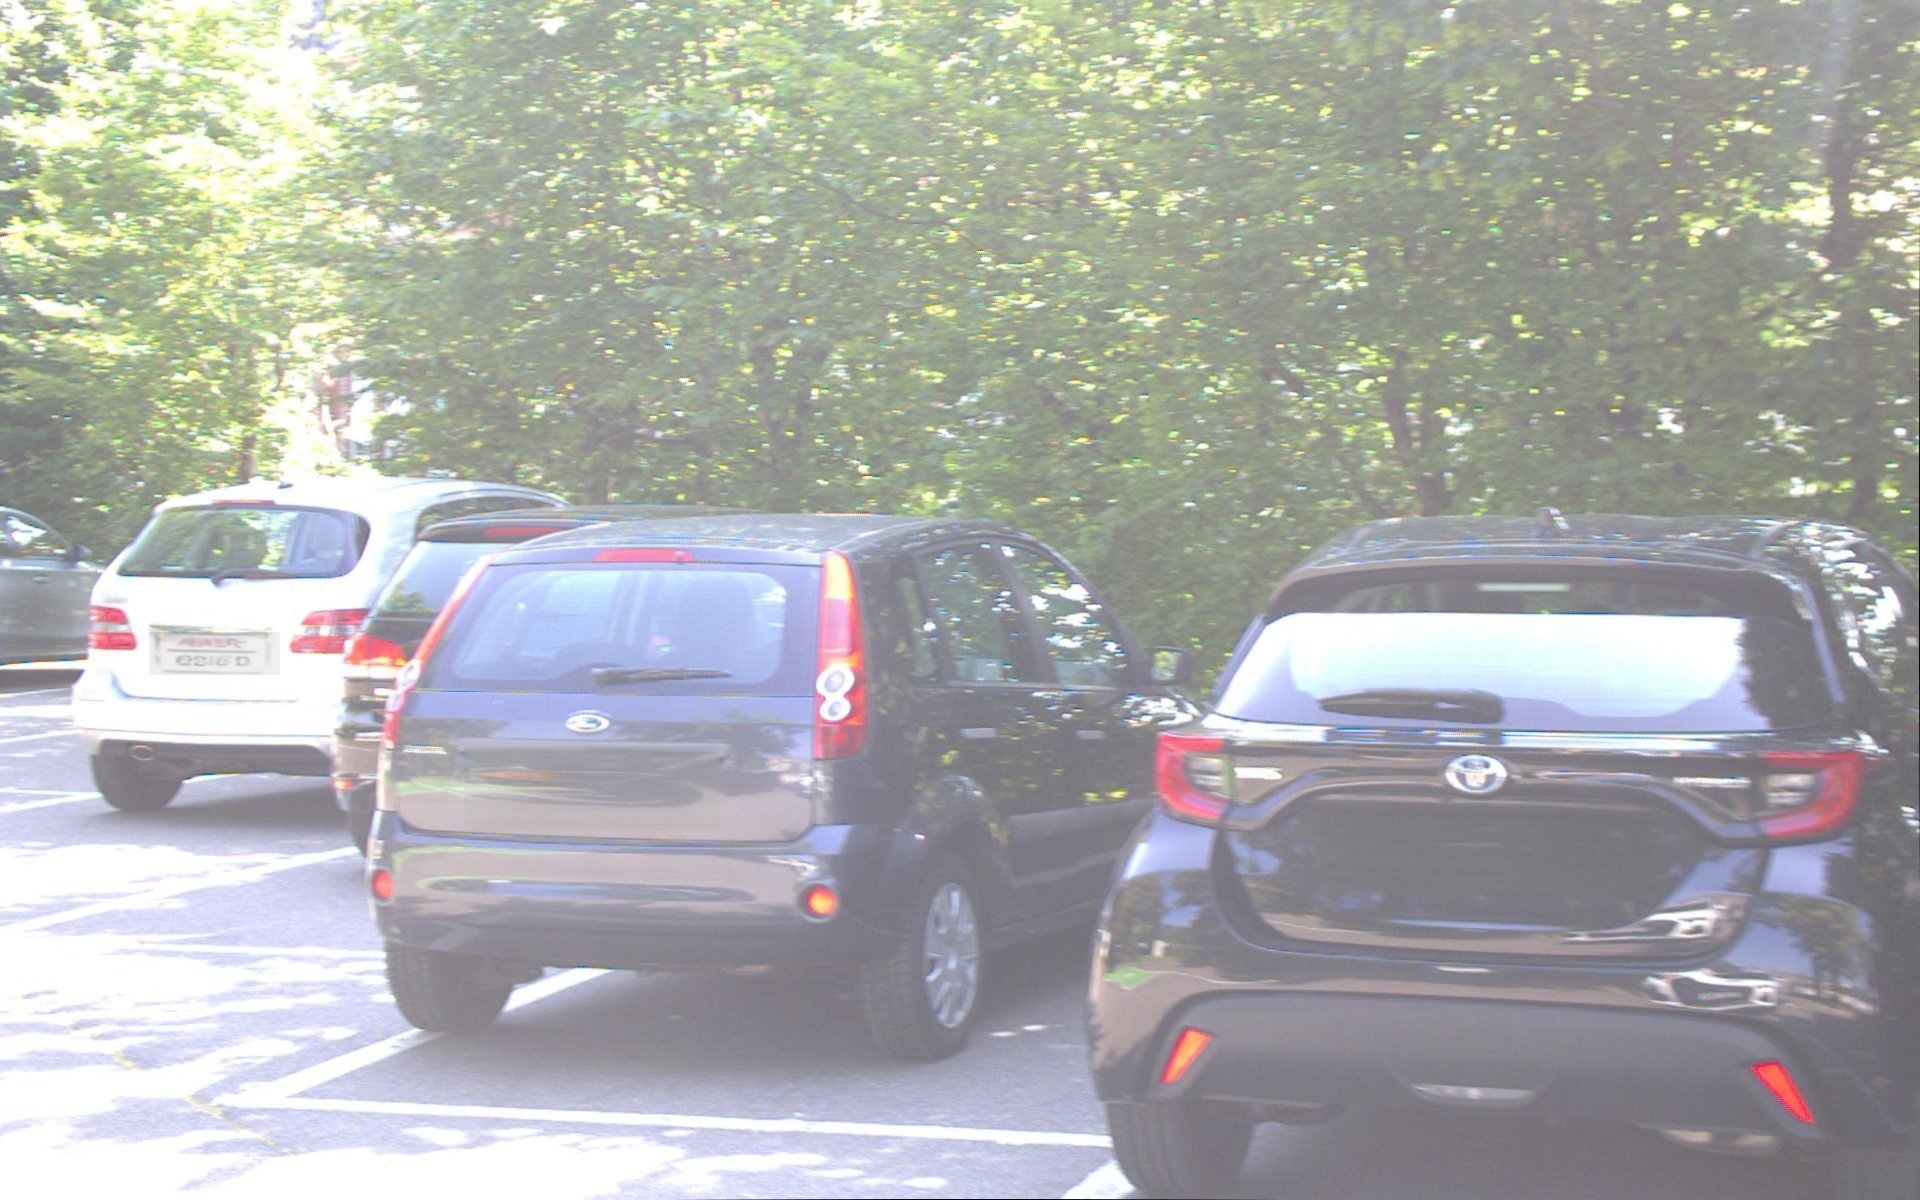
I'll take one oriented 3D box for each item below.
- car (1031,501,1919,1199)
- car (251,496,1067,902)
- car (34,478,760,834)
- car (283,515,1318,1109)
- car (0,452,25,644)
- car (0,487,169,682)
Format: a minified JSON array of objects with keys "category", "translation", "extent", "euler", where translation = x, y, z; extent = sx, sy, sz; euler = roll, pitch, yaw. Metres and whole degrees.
[{"category":"car","translation":[1.576,0.505,8.483],"extent":[1.657,1.465,3.901],"euler":[1,2,20]},{"category":"car","translation":[-1.121,0.299,14.815],"extent":[1.771,1.465,3.995],"euler":[1,2,24]},{"category":"car","translation":[-2.694,0.186,17.393],"extent":[1.770,1.566,3.995],"euler":[1,2,23]},{"category":"car","translation":[-0.269,0.477,10.755],"extent":[1.701,1.448,3.996],"euler":[1,2,22]},{"category":"car","translation":[-9.962,-0.406,29.694],"extent":[1.770,1.728,3.997],"euler":[-1,2,16]},{"category":"car","translation":[-7.930,-0.144,26.805],"extent":[1.769,1.470,3.997],"euler":[0,2,15]}]
